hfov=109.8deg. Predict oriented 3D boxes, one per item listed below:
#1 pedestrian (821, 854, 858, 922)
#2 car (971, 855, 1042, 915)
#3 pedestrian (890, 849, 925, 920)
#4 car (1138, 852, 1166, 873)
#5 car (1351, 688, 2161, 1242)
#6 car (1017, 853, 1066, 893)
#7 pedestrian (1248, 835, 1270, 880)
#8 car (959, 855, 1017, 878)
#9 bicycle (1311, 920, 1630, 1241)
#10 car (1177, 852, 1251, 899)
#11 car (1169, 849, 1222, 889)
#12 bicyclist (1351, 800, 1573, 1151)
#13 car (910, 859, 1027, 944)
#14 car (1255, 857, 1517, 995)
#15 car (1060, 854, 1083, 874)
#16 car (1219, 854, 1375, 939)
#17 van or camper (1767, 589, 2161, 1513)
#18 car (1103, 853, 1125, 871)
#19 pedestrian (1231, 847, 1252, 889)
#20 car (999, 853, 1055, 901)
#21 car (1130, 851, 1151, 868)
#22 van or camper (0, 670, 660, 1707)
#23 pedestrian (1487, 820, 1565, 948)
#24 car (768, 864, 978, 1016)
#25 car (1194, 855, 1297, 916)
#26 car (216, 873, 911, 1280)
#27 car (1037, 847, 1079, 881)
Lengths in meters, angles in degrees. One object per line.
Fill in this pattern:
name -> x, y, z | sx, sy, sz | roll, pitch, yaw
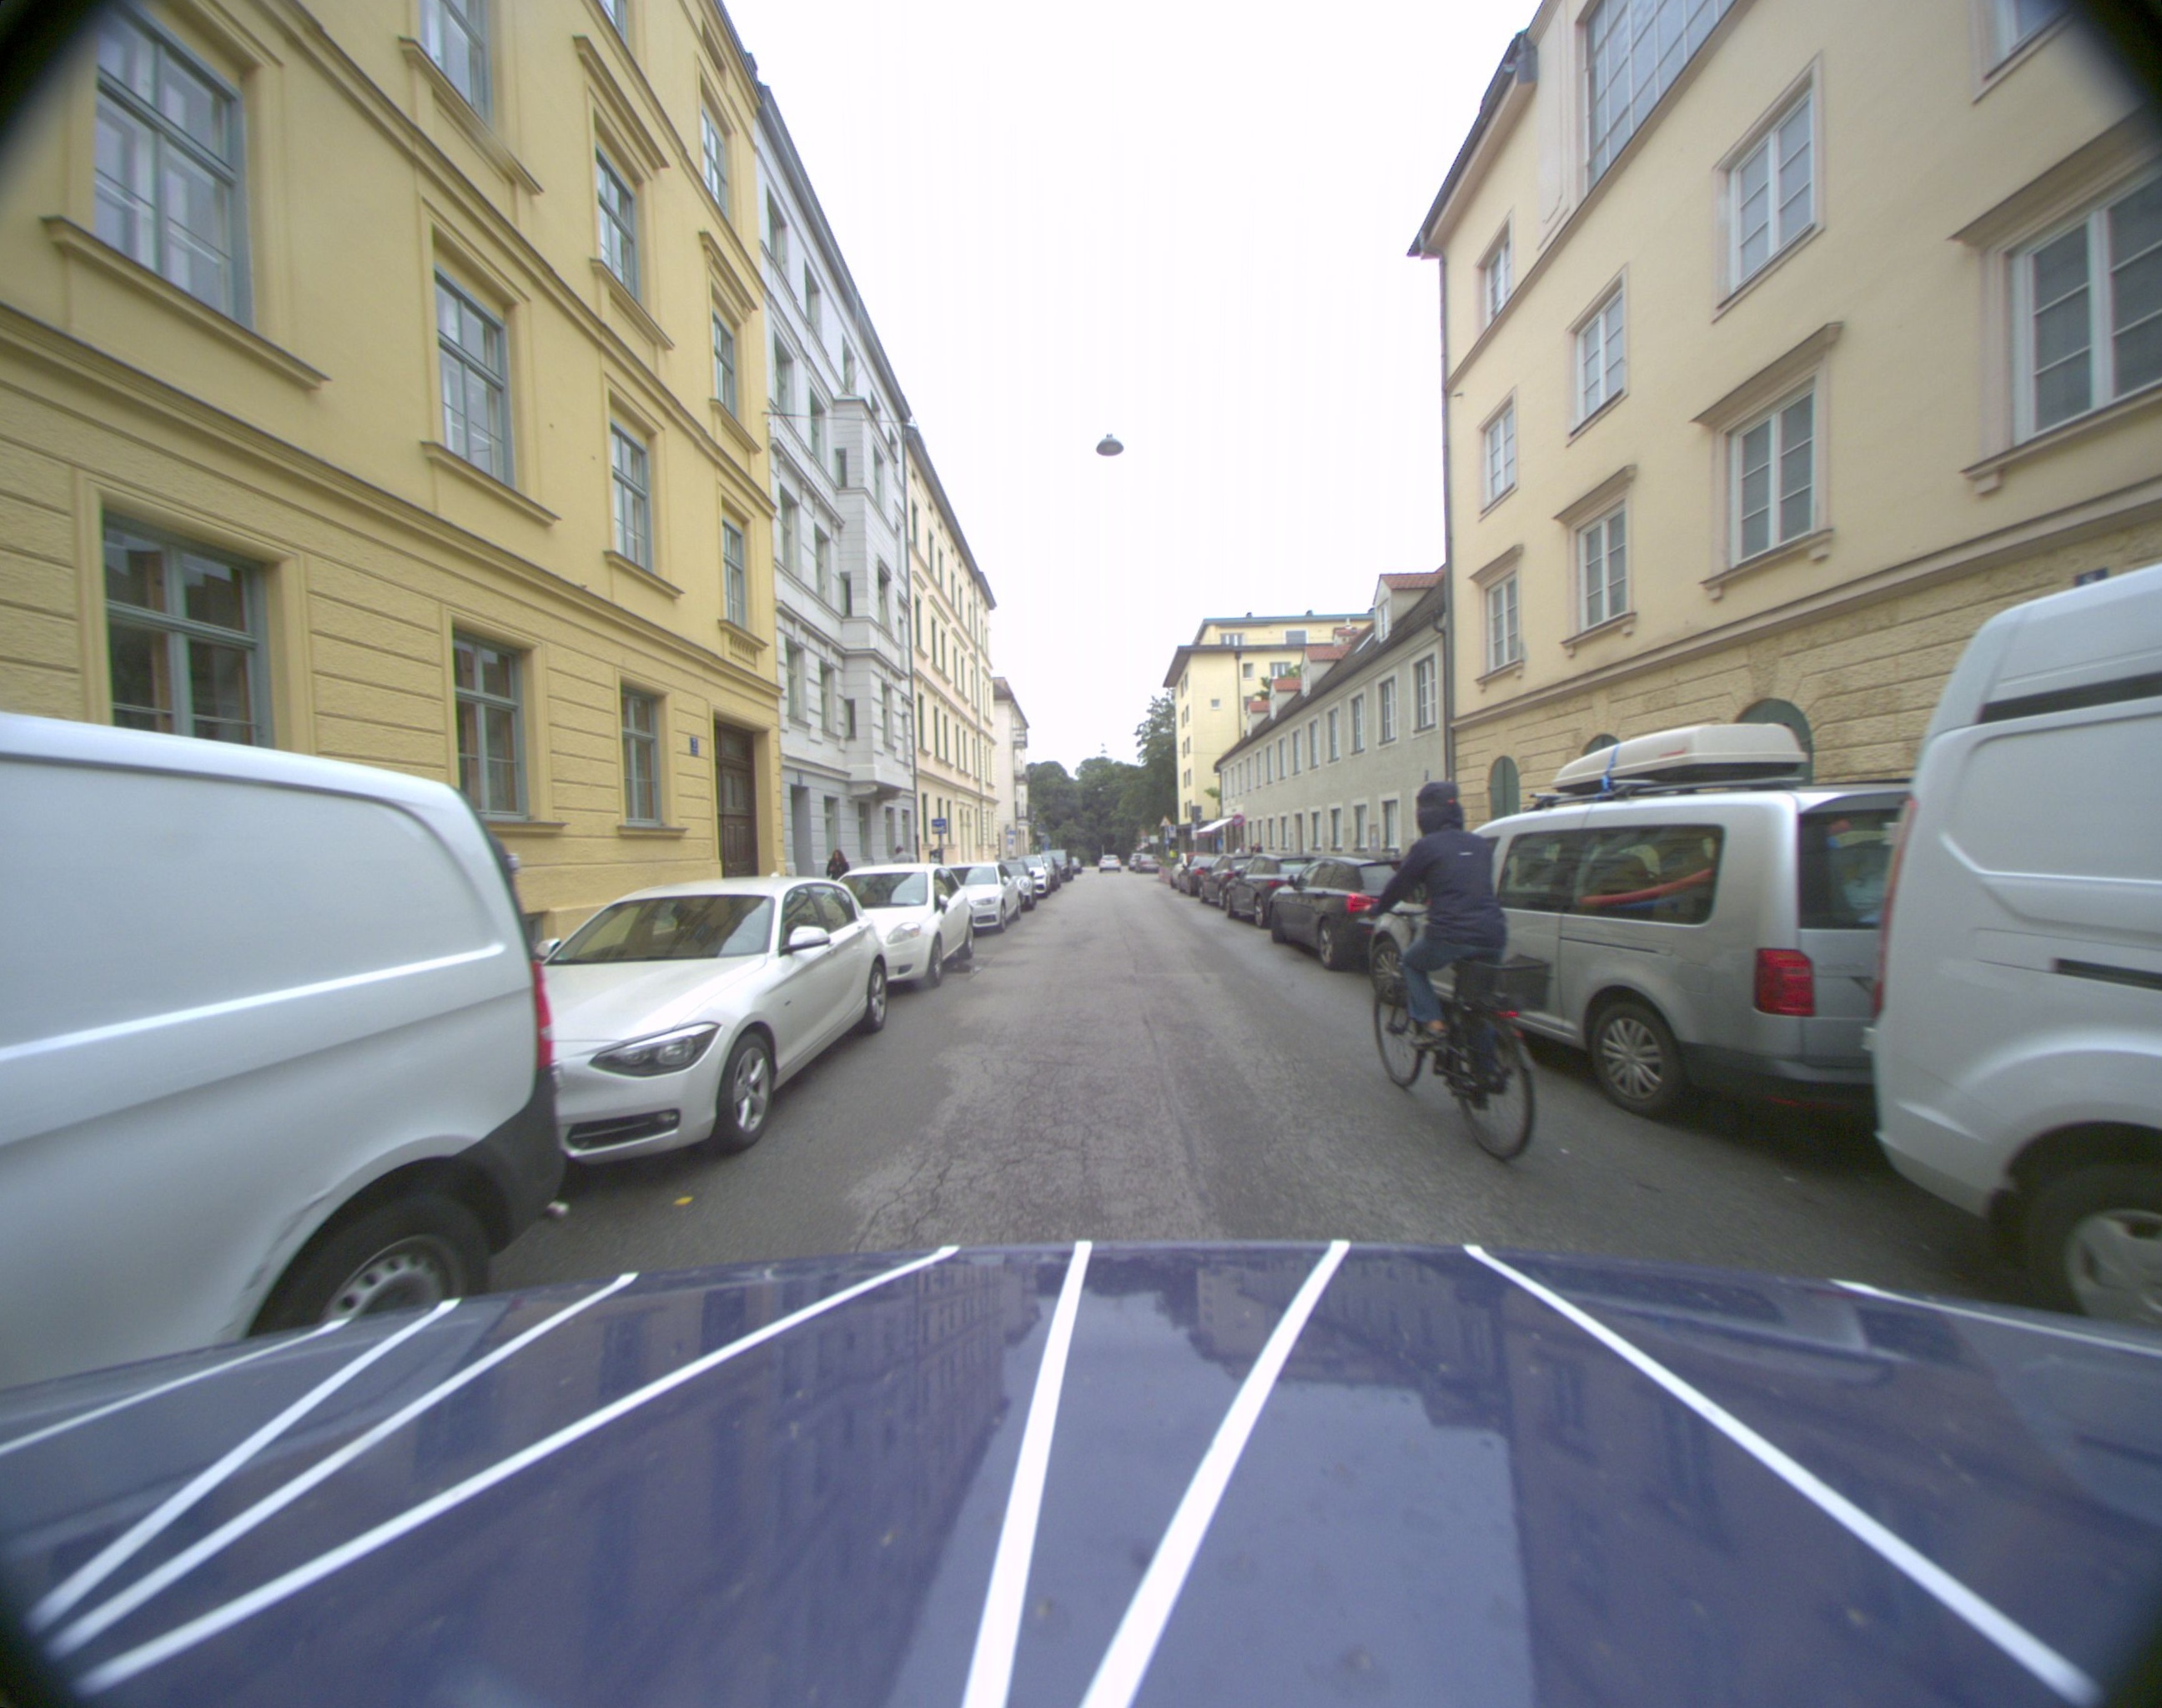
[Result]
pedestrian -> -5.678, 0.790, 17.901 | 0.646, 1.565, 0.625 | 1, 1, 3
car -> -2.085, 0.834, 22.206 | 1.721, 1.501, 3.935 | -2, 0, -1
pedestrian -> -4.667, 0.808, 20.457 | 0.703, 1.852, 0.805 | -2, 1, 0
car -> 5.284, 0.616, 56.954 | 1.711, 1.491, 4.000 | -2, 0, 1
car -> 3.814, 0.421, 5.386 | 1.862, 2.188, 4.559 | -2, 1, -4
car -> -1.687, 0.787, 33.553 | 1.721, 1.557, 4.143 | -2, 0, 2
pedestrian -> 6.846, 0.126, 29.224 | 0.582, 1.689, 0.806 | -2, 1, -2
car -> -6.725, 0.888, 55.427 | 3.997, 1.556, 1.712 | -2, 1, -1
bicycle -> 1.943, 1.044, 4.198 | 0.734, 1.144, 1.999 | -2, 1, 1
car -> 4.525, 0.691, 26.455 | 1.862, 1.393, 4.269 | -2, 0, 1
car -> 4.754, 0.581, 31.962 | 1.573, 1.505, 3.423 | -2, 1, -1
bicyclist -> 1.934, 0.566, 3.976 | 0.688, 1.618, 0.853 | -2, 1, 0
car -> -2.288, 0.925, 16.634 | 1.721, 1.501, 4.469 | -2, 0, 2
car -> 3.849, 0.799, 10.499 | 1.862, 1.393, 4.269 | -2, 0, 0
car -> -0.753, 0.766, 62.135 | 1.711, 1.491, 4.000 | -2, 0, 1
car -> 4.201, 0.746, 15.559 | 1.862, 1.393, 4.268 | -2, 0, -1
van or camper -> 3.610, 0.485, 0.221 | 1.998, 2.298, 5.478 | -2, 0, 2
car -> 2.743, 0.653, 64.163 | 1.793, 1.409, 3.905 | 0, 1, 1
pedestrian -> 6.125, 0.526, 28.984 | 0.614, 1.589, 0.662 | -2, 1, -2
car -> -1.950, 0.798, 28.516 | 1.721, 1.592, 4.322 | -2, 0, 0
car -> 5.525, 0.489, 70.943 | 1.711, 1.550, 4.000 | -2, 0, 1
van or camper -> -2.782, 0.727, 0.478 | 1.998, 2.002, 5.232 | -2, 0, 1
pedestrian -> 7.251, 0.473, 12.413 | 0.807, 2.002, 0.750 | -2, 1, 3
car -> -2.463, 0.943, 9.956 | 1.627, 1.501, 3.761 | -2, 0, 1
car -> 4.361, 0.771, 20.819 | 1.862, 1.393, 4.269 | -2, 0, 0
car -> -2.658, 0.985, 5.456 | 1.820, 1.501, 4.587 | -2, 0, 0
car -> -1.320, 0.530, 44.973 | 1.998, 1.850, 5.114 | -2, 0, 3
